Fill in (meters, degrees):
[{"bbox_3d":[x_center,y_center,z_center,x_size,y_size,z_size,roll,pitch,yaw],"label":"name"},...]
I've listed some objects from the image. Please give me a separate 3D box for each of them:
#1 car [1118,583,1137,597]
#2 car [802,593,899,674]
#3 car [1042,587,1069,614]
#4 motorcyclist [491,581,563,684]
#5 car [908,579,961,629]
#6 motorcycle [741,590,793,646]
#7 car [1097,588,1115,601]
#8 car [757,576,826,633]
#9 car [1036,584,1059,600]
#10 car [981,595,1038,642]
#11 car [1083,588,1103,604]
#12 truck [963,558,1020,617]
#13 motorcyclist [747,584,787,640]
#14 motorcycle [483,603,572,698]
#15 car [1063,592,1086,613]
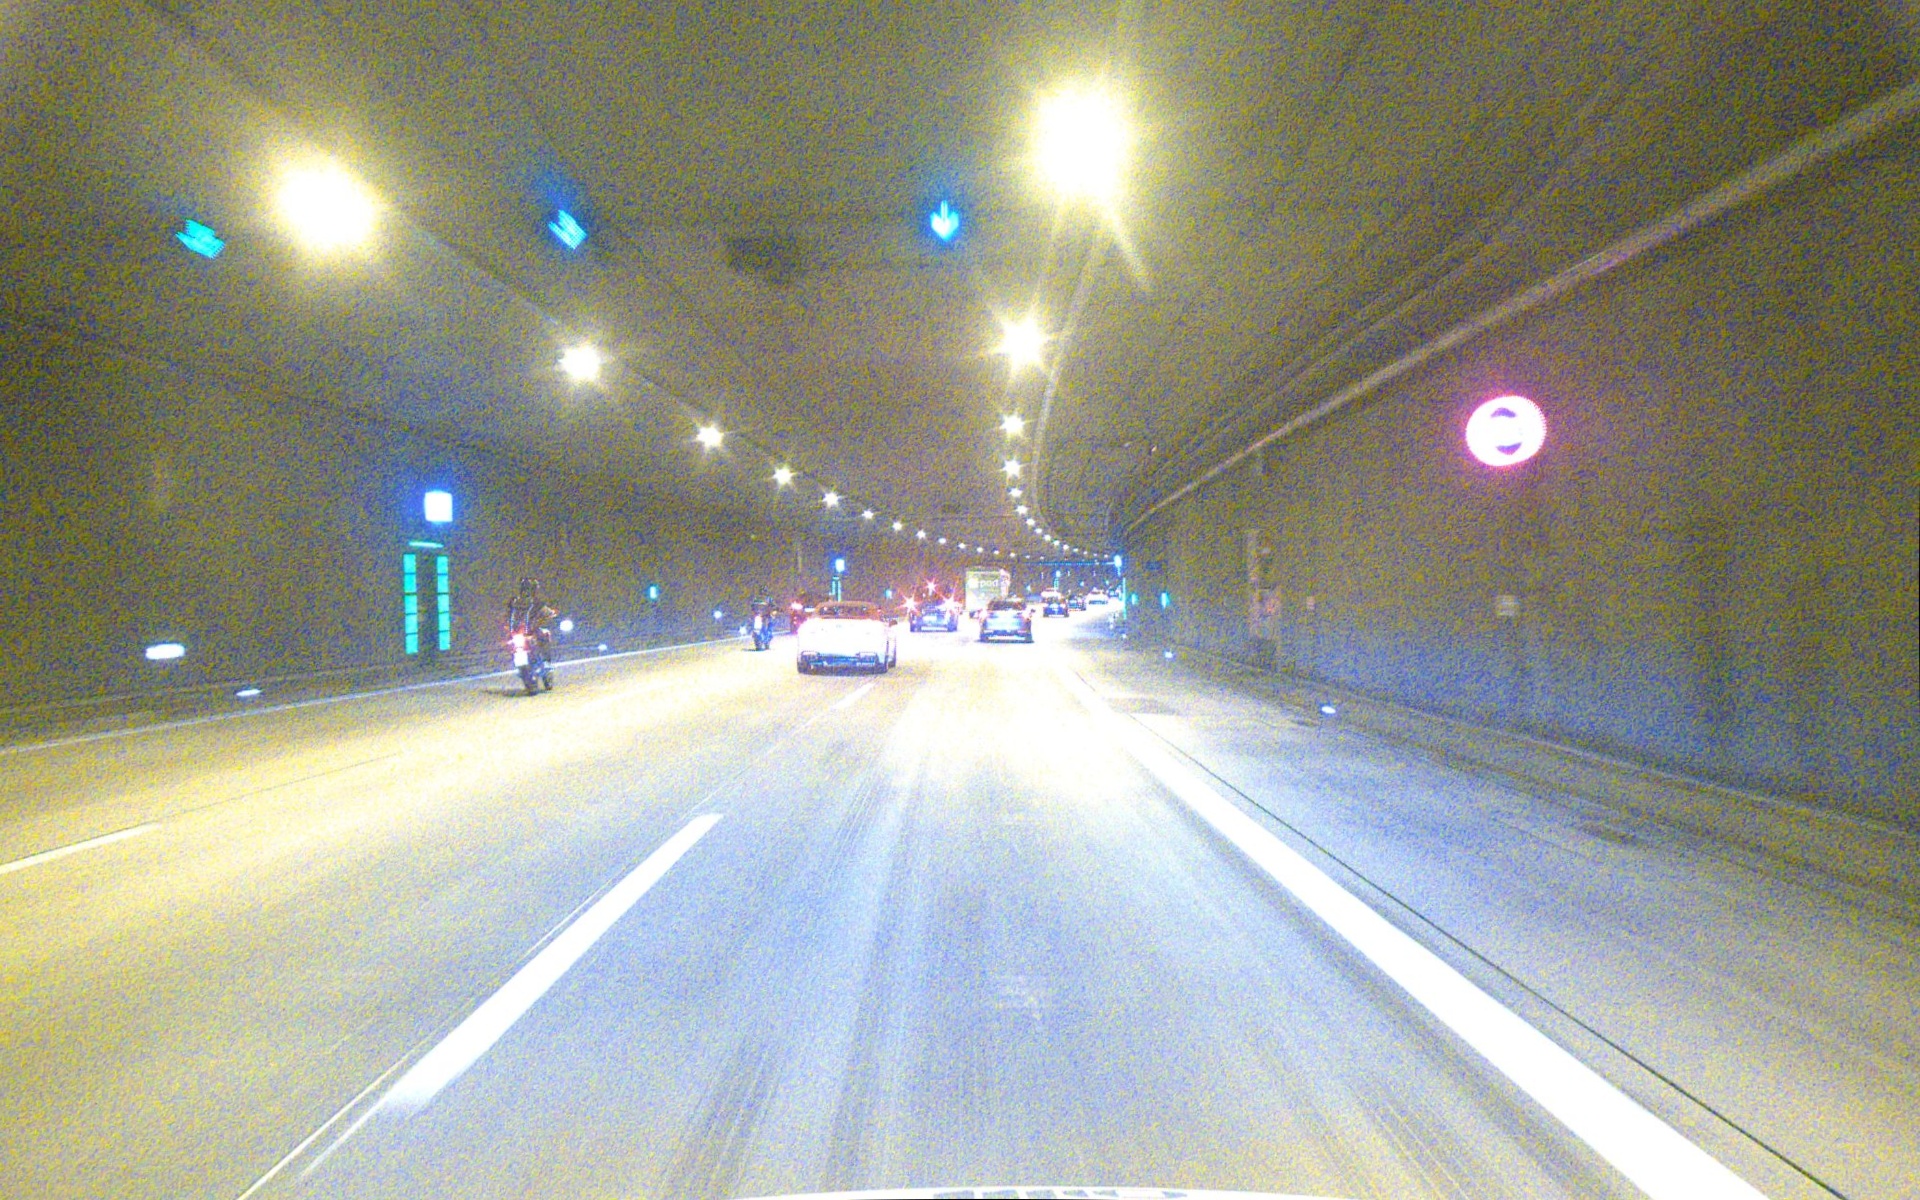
[{"bbox_3d":[20.019,-1.171,197.843,1.951,1.660,4.003,1,0,9],"label":"car"},{"bbox_3d":[-2.185,0.631,34.100,1.667,1.443,5.060,0,1,0],"label":"car"},{"bbox_3d":[6.676,0.040,115.231,1.818,1.887,4.002,0,0,5],"label":"car"},{"bbox_3d":[-6.357,0.469,24.337,0.761,1.478,1.069,1,0,0],"label":"motorcyclist"},{"bbox_3d":[-1.064,0.140,70.333,1.869,1.978,3.874,0,2,5],"label":"car"},{"bbox_3d":[-5.217,0.488,45.000,0.907,1.459,2.965,1,0,3],"label":"motorcycle"},{"bbox_3d":[18.472,-0.685,209.090,1.889,1.671,4.003,1,0,11],"label":"car"},{"bbox_3d":[-6.271,0.156,61.818,1.952,2.049,4.002,0,0,3],"label":"car"},{"bbox_3d":[9.708,-0.853,183.150,1.889,1.671,4.003,1,0,14],"label":"car"},{"bbox_3d":[1.736,0.666,56.968,1.705,1.490,3.873,1,-2,5],"label":"car"},{"bbox_3d":[14.340,-0.427,178.413,1.889,1.671,4.003,1,0,9],"label":"car"},{"bbox_3d":[2.137,-0.792,108.979,2.974,3.737,7.398,0,0,7],"label":"truck"},{"bbox_3d":[-5.238,0.321,44.954,0.789,1.473,1.866,0,0,3],"label":"motorcyclist"},{"bbox_3d":[-6.353,0.706,24.431,0.669,1.319,2.399,0,0,0],"label":"motorcycle"},{"bbox_3d":[9.983,0.214,143.774,1.909,1.803,4.002,1,0,5],"label":"car"}]
